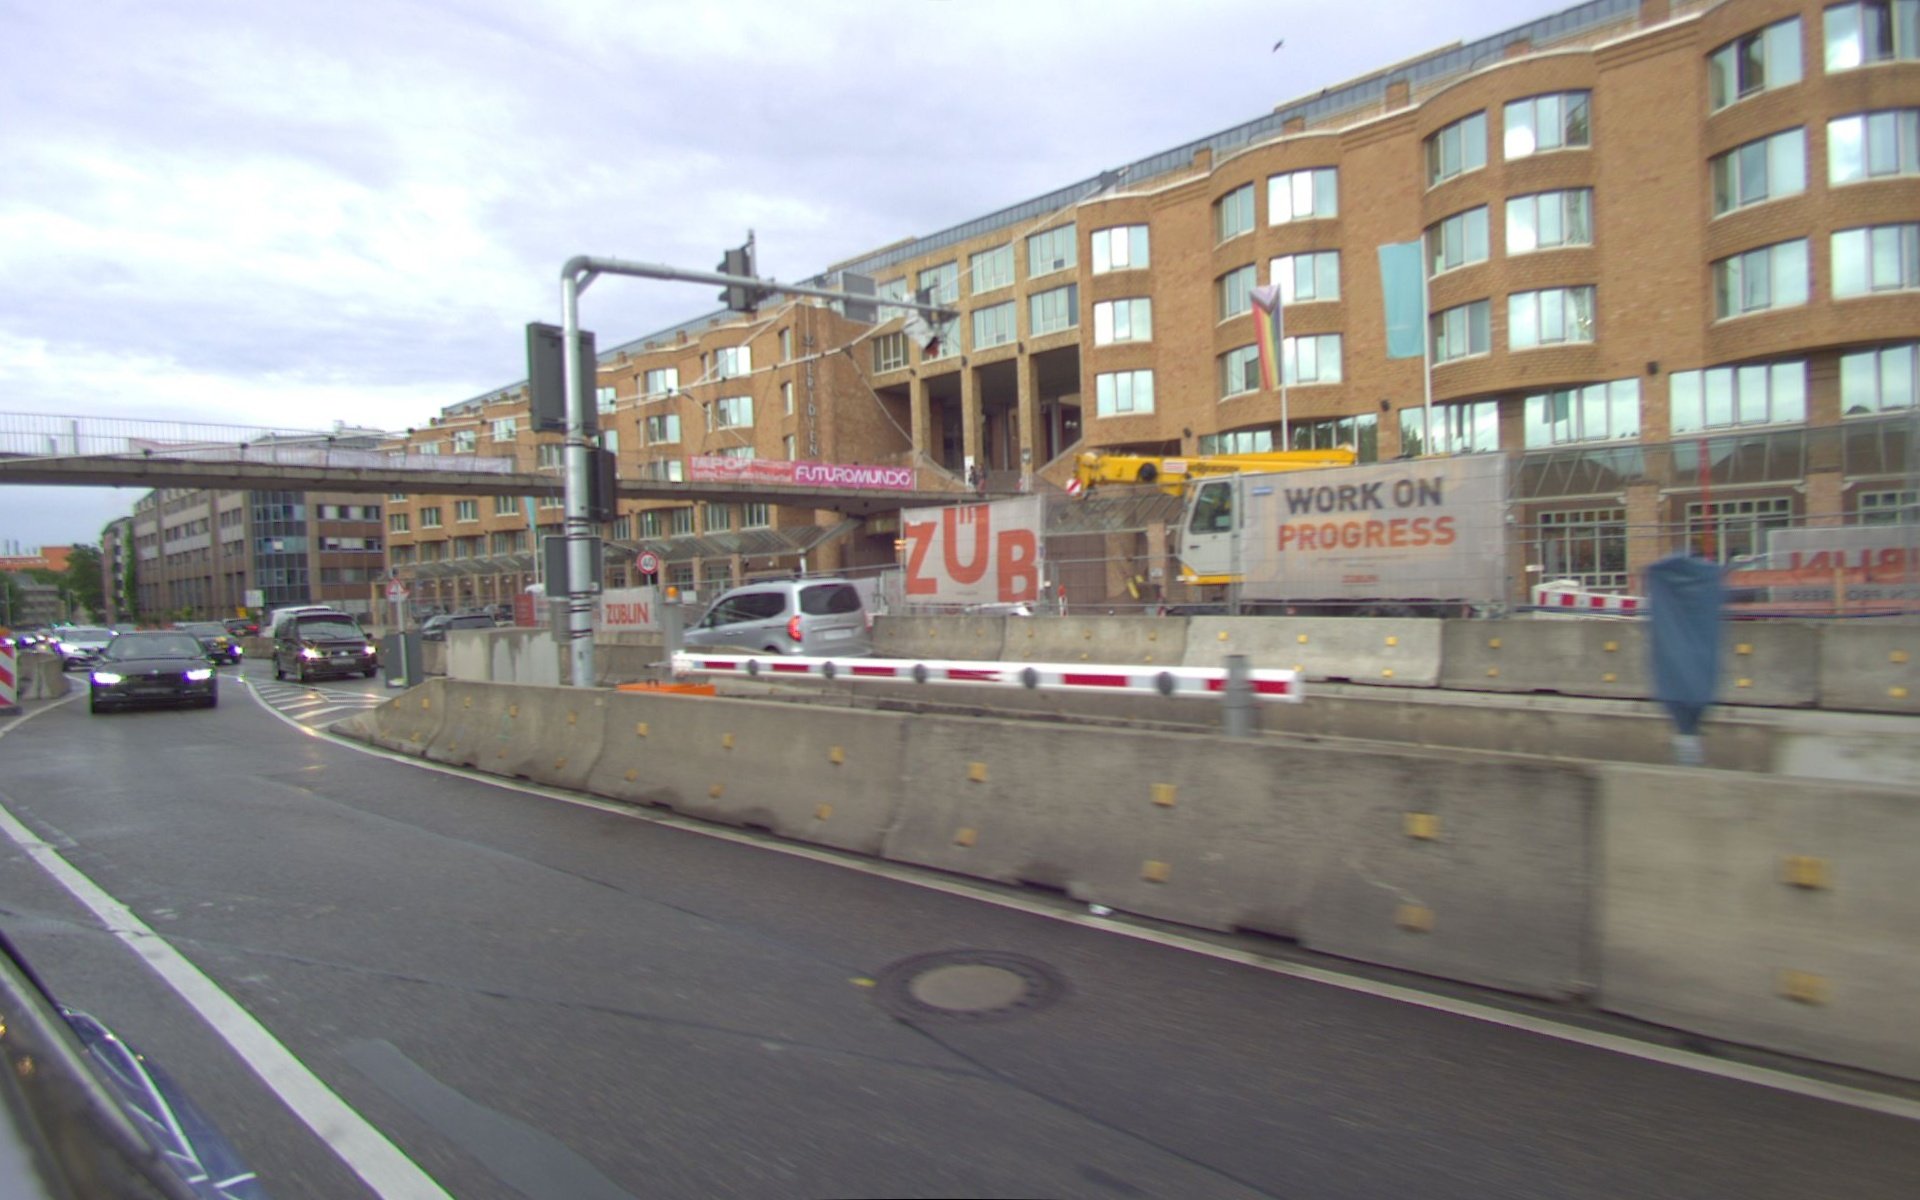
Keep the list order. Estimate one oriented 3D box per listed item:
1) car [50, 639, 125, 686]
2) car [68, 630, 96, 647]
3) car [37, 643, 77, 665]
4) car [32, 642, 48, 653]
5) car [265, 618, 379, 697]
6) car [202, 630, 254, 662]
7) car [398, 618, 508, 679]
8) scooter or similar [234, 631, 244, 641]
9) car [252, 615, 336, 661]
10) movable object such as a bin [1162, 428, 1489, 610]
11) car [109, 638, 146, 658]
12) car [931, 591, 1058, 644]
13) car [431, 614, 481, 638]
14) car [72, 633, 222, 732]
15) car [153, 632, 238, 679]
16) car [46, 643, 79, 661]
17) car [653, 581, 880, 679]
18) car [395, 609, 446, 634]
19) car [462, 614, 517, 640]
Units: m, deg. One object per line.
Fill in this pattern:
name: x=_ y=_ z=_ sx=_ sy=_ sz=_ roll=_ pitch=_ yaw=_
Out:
car: x=-33.147 y=2.338 z=38.389 sx=4.658 sy=1.545 sz=1.748 roll=-3 pitch=1 yaw=45
car: x=-112.681 y=4.945 z=129.830 sx=4.867 sy=1.899 sz=1.973 roll=-3 pitch=1 yaw=41
car: x=-69.178 y=4.118 z=77.490 sx=4.655 sy=1.545 sz=1.749 roll=-3 pitch=1 yaw=42
car: x=-164.669 y=8.582 z=181.152 sx=4.879 sy=1.796 sz=1.865 roll=-3 pitch=1 yaw=45
car: x=-16.959 y=1.469 z=26.824 sx=1.773 sy=1.814 sz=4.255 roll=-4 pitch=1 yaw=-42
car: x=-41.103 y=2.558 z=56.793 sx=1.785 sy=1.635 sz=3.905 roll=-3 pitch=1 yaw=-45
car: x=-15.478 y=1.477 z=30.811 sx=1.785 sy=1.635 sz=4.036 roll=-3 pitch=-1 yaw=-45
scooter or similar: x=-76.571 y=3.805 z=107.492 sx=1.041 sy=1.071 sz=0.445 roll=-3 pitch=0 yaw=31
car: x=-29.087 y=1.682 z=44.116 sx=5.300 sy=1.835 sz=1.786 roll=-4 pitch=-1 yaw=43
movable object such as a bin: x=5.523 y=-1.062 z=15.593 sx=4.289 sy=2.295 sz=2.006 roll=-2 pitch=-3 yaw=40
car: x=-72.098 y=4.123 z=87.615 sx=4.655 sy=1.545 sz=1.749 roll=-3 pitch=1 yaw=42
car: x=1.139 y=0.645 z=34.452 sx=3.998 sy=1.706 sz=1.973 roll=-2 pitch=-3 yaw=41
car: x=-39.895 y=2.065 z=80.080 sx=4.539 sy=1.605 sz=1.973 roll=-3 pitch=1 yaw=42
car: x=-14.825 y=1.399 z=18.681 sx=1.744 sy=1.454 sz=4.668 roll=-4 pitch=1 yaw=-34
car: x=-28.786 y=2.058 z=38.058 sx=4.356 sy=1.545 sz=1.749 roll=-3 pitch=1 yaw=43
car: x=-83.102 y=4.799 z=93.698 sx=4.655 sy=1.545 sz=1.749 roll=-3 pitch=1 yaw=42
car: x=-3.658 y=0.541 z=18.623 sx=4.523 sy=1.561 sz=1.728 roll=-2 pitch=0 yaw=43
car: x=-45.472 y=1.830 z=85.249 sx=5.010 sy=1.900 sz=1.973 roll=-3 pitch=1 yaw=41
car: x=-35.703 y=2.048 z=76.745 sx=5.049 sy=1.703 sz=1.972 roll=-3 pitch=1 yaw=42
